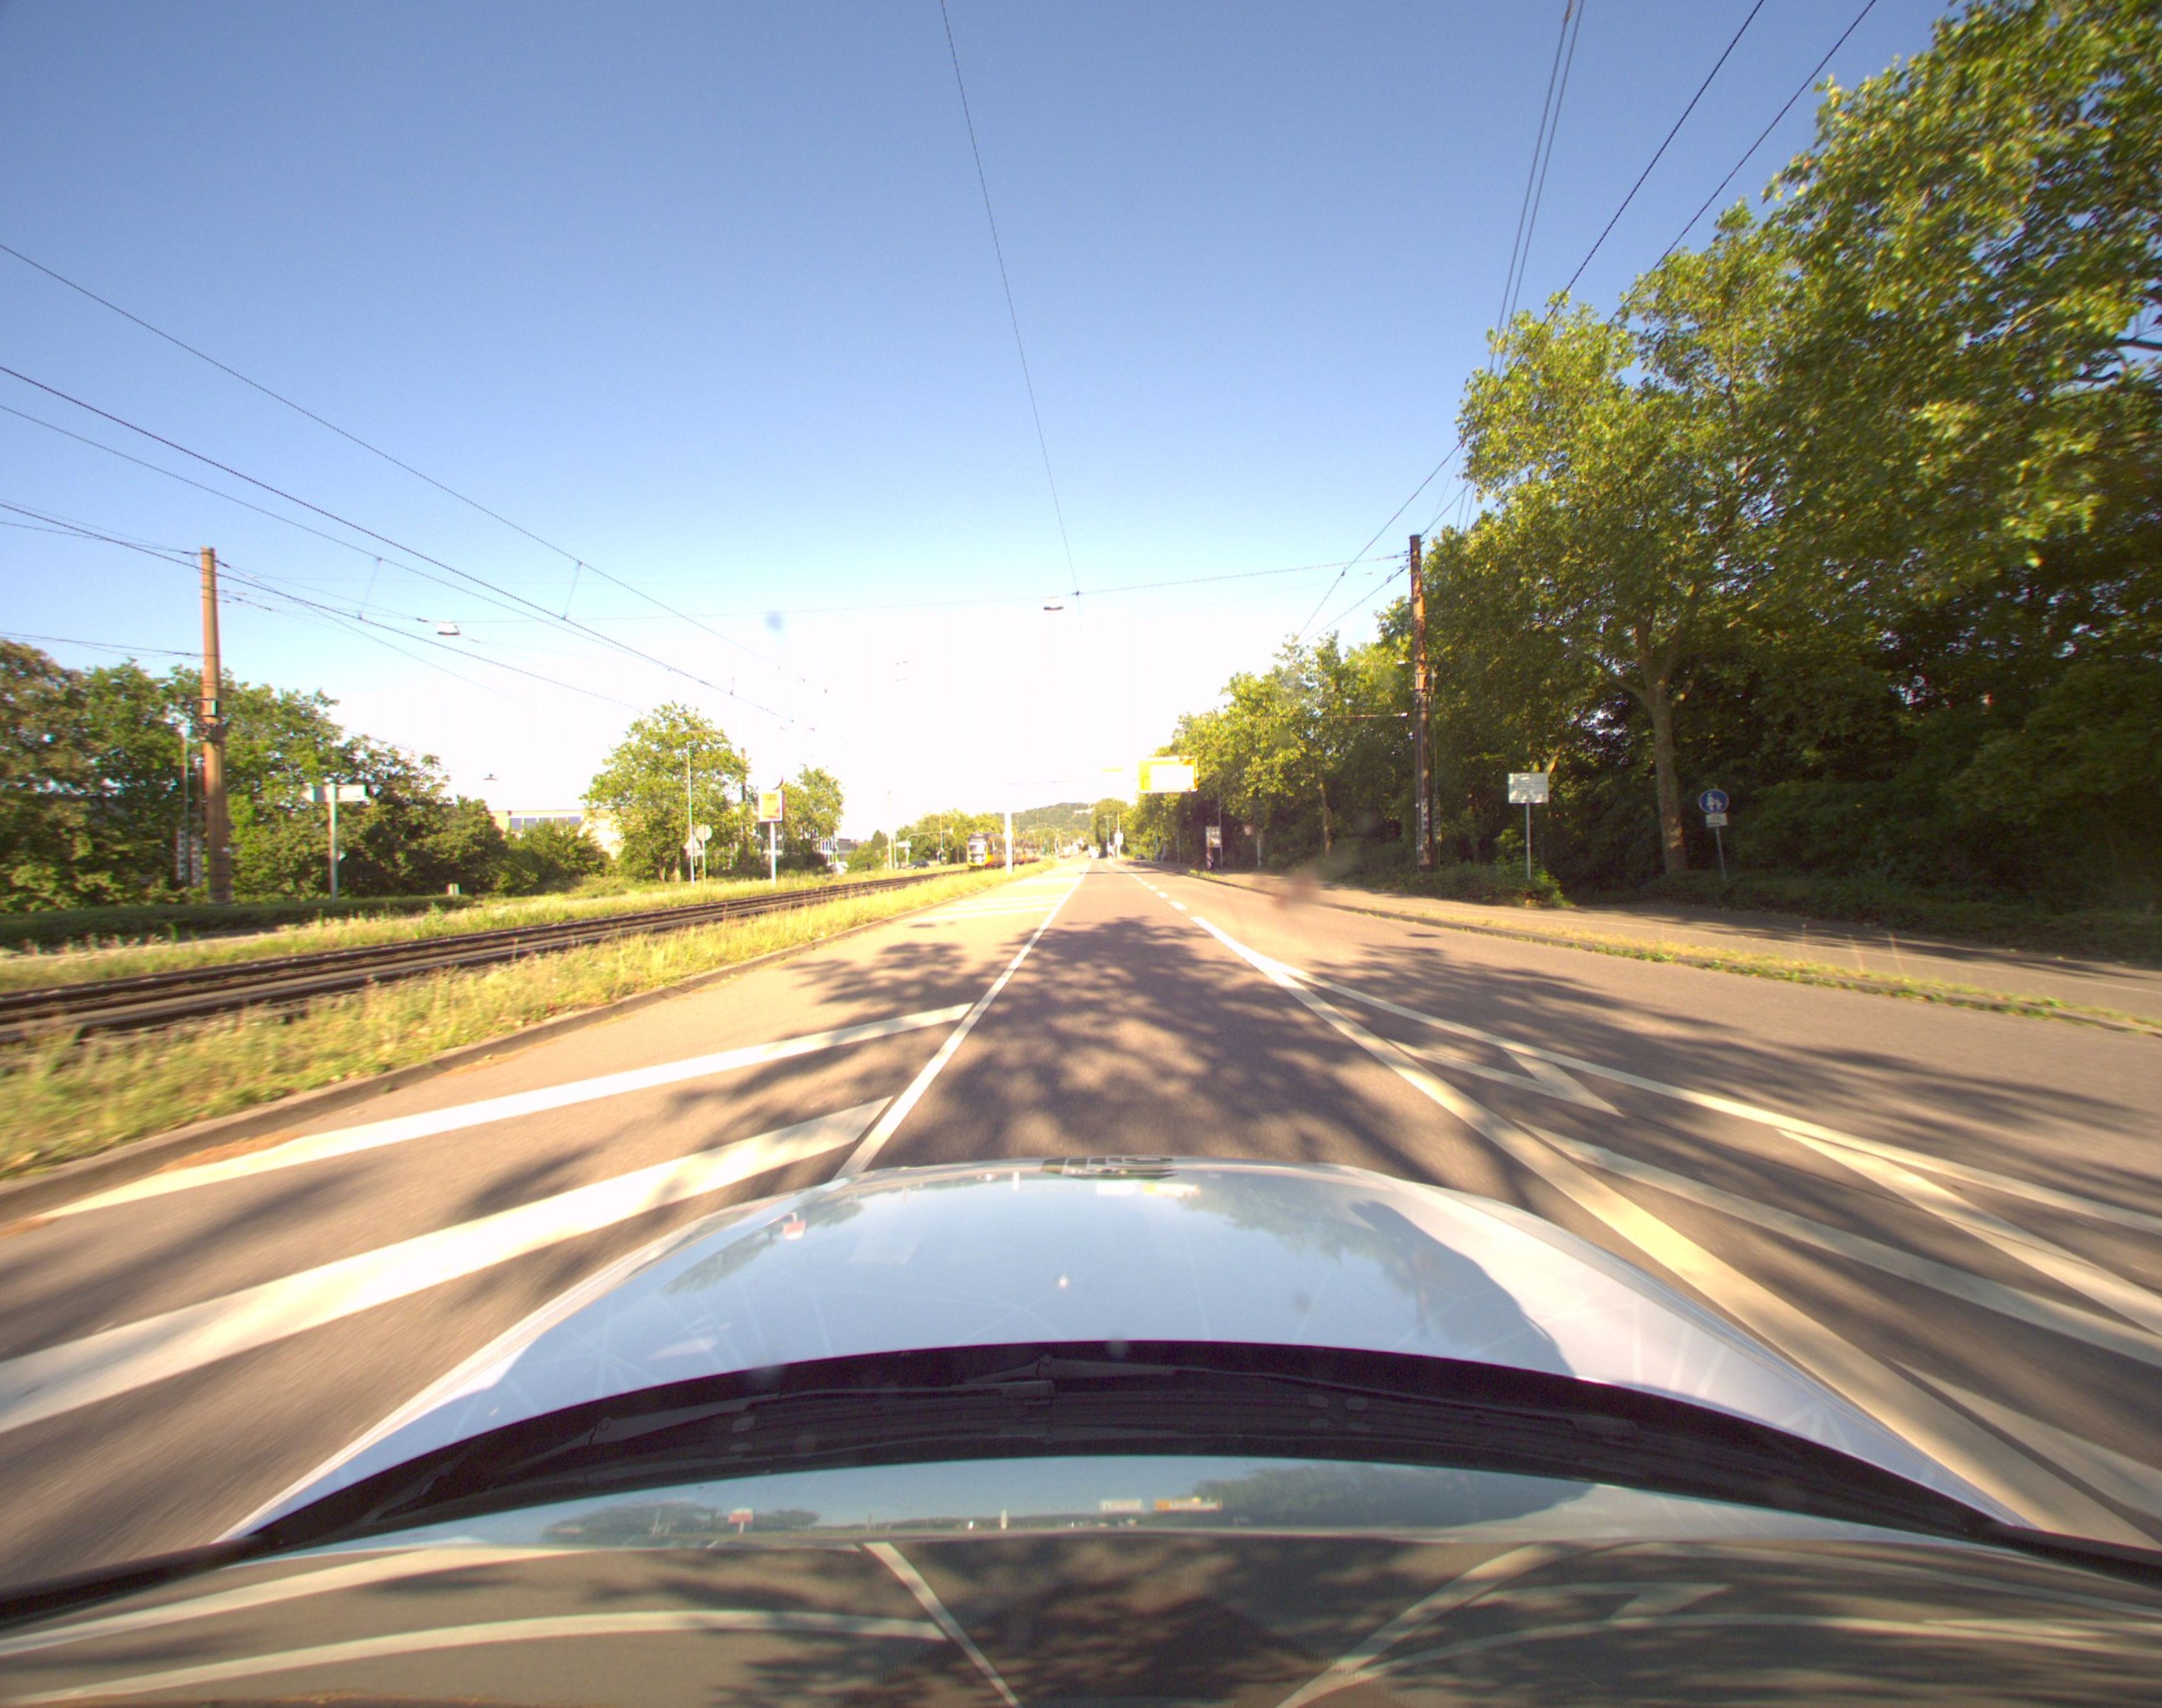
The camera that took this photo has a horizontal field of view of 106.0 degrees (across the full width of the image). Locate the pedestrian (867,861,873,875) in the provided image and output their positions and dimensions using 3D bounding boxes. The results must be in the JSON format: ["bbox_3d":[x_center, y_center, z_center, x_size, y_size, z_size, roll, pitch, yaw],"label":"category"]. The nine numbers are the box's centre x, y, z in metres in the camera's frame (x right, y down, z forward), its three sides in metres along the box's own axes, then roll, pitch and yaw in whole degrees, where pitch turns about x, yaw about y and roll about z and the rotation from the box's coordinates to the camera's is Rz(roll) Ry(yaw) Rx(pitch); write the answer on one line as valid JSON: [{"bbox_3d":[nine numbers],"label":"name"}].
[{"bbox_3d":[-27.365,1.820,105.609,0.535,1.821,0.655,-1,-1,23],"label":"pedestrian"}]

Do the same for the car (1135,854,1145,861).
[{"bbox_3d":[13.523,0.779,187.579,2.075,1.566,3.963,0,0,7],"label":"car"}]

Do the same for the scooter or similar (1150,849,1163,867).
[{"bbox_3d":[12.099,0.602,130.301,1.675,2.715,4.870,-1,0,2],"label":"scooter or similar"}]

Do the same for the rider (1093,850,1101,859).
[{"bbox_3d":[4.858,0.231,245.416,2.098,2.647,0.738,-1,0,6],"label":"rider"}]

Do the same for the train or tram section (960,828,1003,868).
[{"bbox_3d":[-10.198,-0.555,84.701,2.794,3.902,12.332,0,0,1],"label":"train or tram section"}]

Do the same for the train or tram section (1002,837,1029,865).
[{"bbox_3d":[-9.646,-0.425,121.022,2.814,3.950,12.708,0,0,1],"label":"train or tram section"}]

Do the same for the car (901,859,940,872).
[{"bbox_3d":[-22.798,1.663,115.779,5.147,1.815,1.931,0,0,-26],"label":"car"}]
